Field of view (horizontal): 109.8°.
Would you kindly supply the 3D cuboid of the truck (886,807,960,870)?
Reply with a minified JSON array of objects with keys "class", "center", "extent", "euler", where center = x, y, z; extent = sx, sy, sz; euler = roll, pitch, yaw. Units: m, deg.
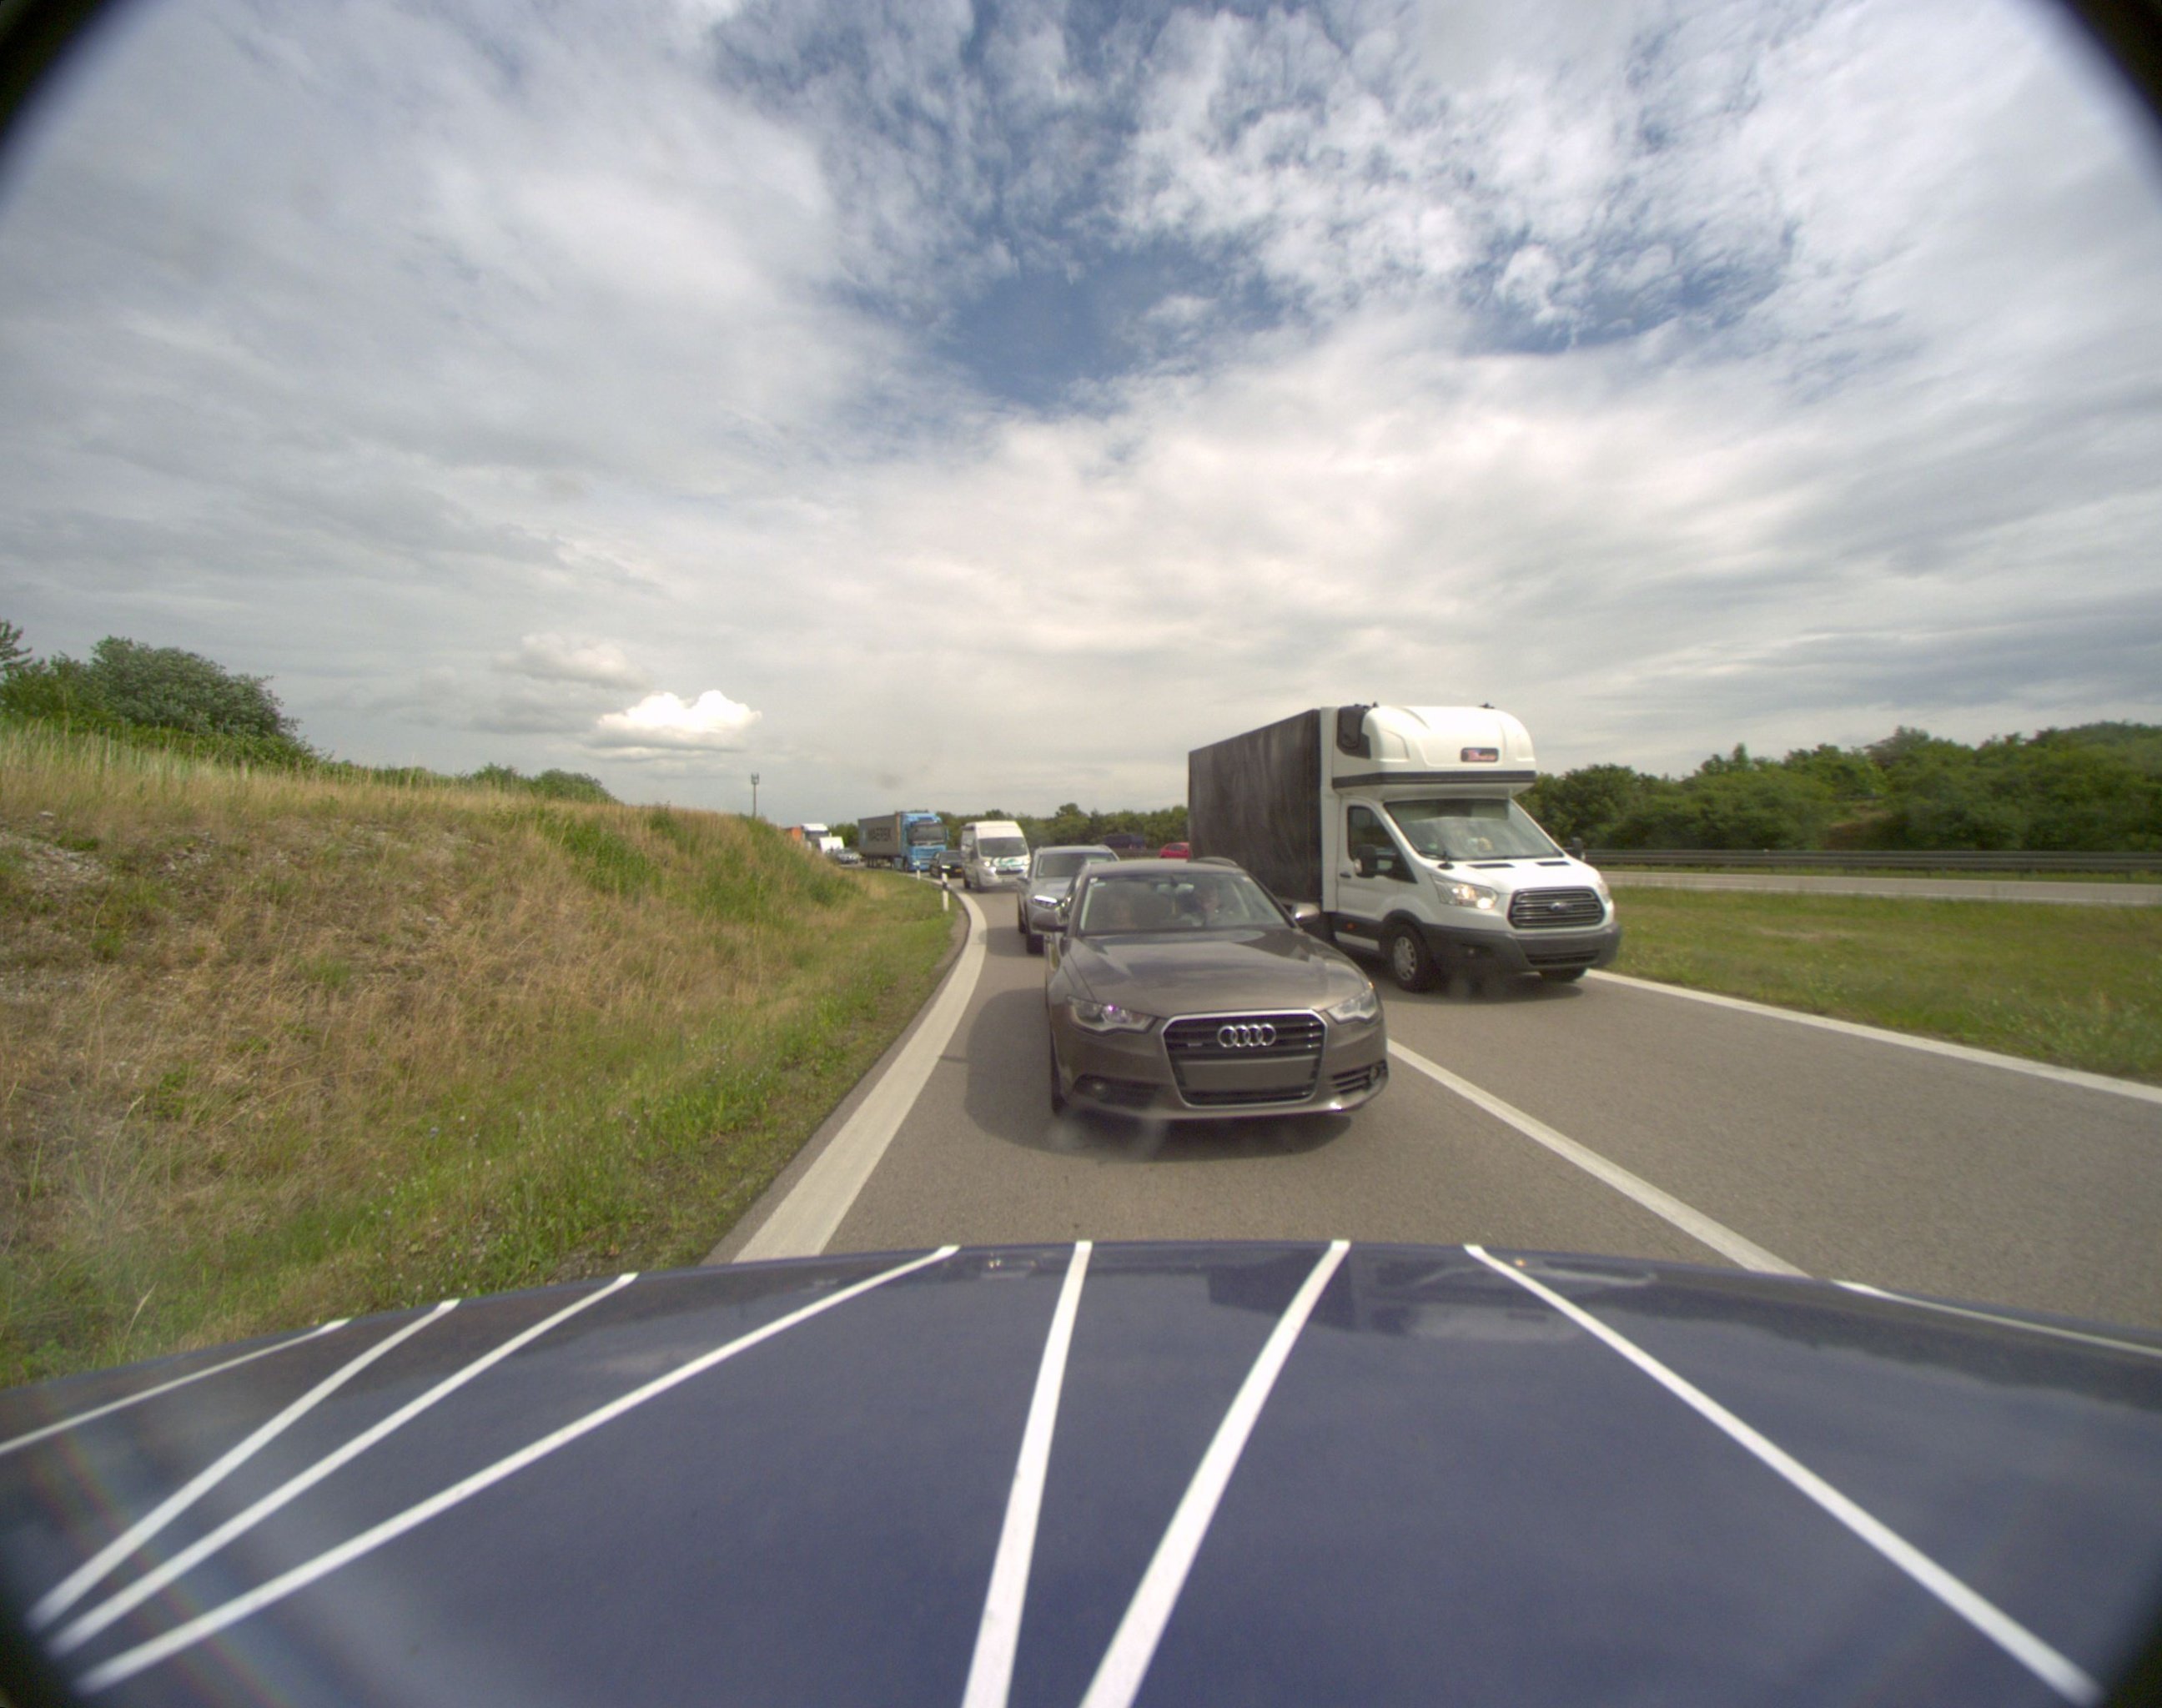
[{"class":"truck","center":[-10.981,-1.024,52.436],"extent":[3.184,4.049,6.632],"euler":[-3,1,-27]}]

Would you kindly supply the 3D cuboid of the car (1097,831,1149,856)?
[{"class":"car","center":[4.278,-1.035,78.995],"extent":[2.146,2.421,5.953],"euler":[-3,1,-34]}]

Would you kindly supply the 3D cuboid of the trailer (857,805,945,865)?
[{"class":"trailer","center":[-14.123,-1.316,58.435],"extent":[3.280,4.137,11.989],"euler":[-3,1,-29]}]

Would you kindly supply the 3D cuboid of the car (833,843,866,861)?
[{"class":"car","center":[-21.303,-0.171,69.876],"extent":[2.003,1.521,3.990],"euler":[-2,2,-29]}]

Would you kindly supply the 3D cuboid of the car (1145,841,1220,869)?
[{"class":"car","center":[6.240,0.017,47.166],"extent":[2.003,1.593,4.796],"euler":[-2,2,-32]}]

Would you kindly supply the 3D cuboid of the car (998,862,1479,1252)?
[{"class":"car","center":[0.653,0.880,5.478],"extent":[1.999,1.505,4.537],"euler":[-2,1,-1]}]

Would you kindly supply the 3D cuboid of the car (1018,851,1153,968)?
[{"class":"car","center":[-0.097,0.782,12.889],"extent":[1.843,1.587,4.171],"euler":[-1,1,-6]}]

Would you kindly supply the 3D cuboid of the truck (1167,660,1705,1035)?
[{"class":"truck","center":[3.627,-0.107,10.295],"extent":[2.569,3.149,7.459],"euler":[-2,1,-12]}]

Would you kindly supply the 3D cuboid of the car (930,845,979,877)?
[{"class":"car","center":[-7.033,0.347,42.030],"extent":[2.002,1.609,3.992],"euler":[-1,1,-19]}]

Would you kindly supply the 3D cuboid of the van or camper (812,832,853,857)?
[{"class":"van or camper","center":[-24.579,-0.989,75.039],"extent":[2.557,2.200,5.693],"euler":[-3,5,-31]}]

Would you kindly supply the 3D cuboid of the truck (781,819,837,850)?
[{"class":"truck","center":[-30.526,-2.097,84.914],"extent":[3.131,3.220,11.131],"euler":[-2,1,-34]}]

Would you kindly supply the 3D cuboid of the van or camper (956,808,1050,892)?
[{"class":"van or camper","center":[-3.204,-0.150,29.737],"extent":[2.401,2.892,5.711],"euler":[-3,1,-18]}]
